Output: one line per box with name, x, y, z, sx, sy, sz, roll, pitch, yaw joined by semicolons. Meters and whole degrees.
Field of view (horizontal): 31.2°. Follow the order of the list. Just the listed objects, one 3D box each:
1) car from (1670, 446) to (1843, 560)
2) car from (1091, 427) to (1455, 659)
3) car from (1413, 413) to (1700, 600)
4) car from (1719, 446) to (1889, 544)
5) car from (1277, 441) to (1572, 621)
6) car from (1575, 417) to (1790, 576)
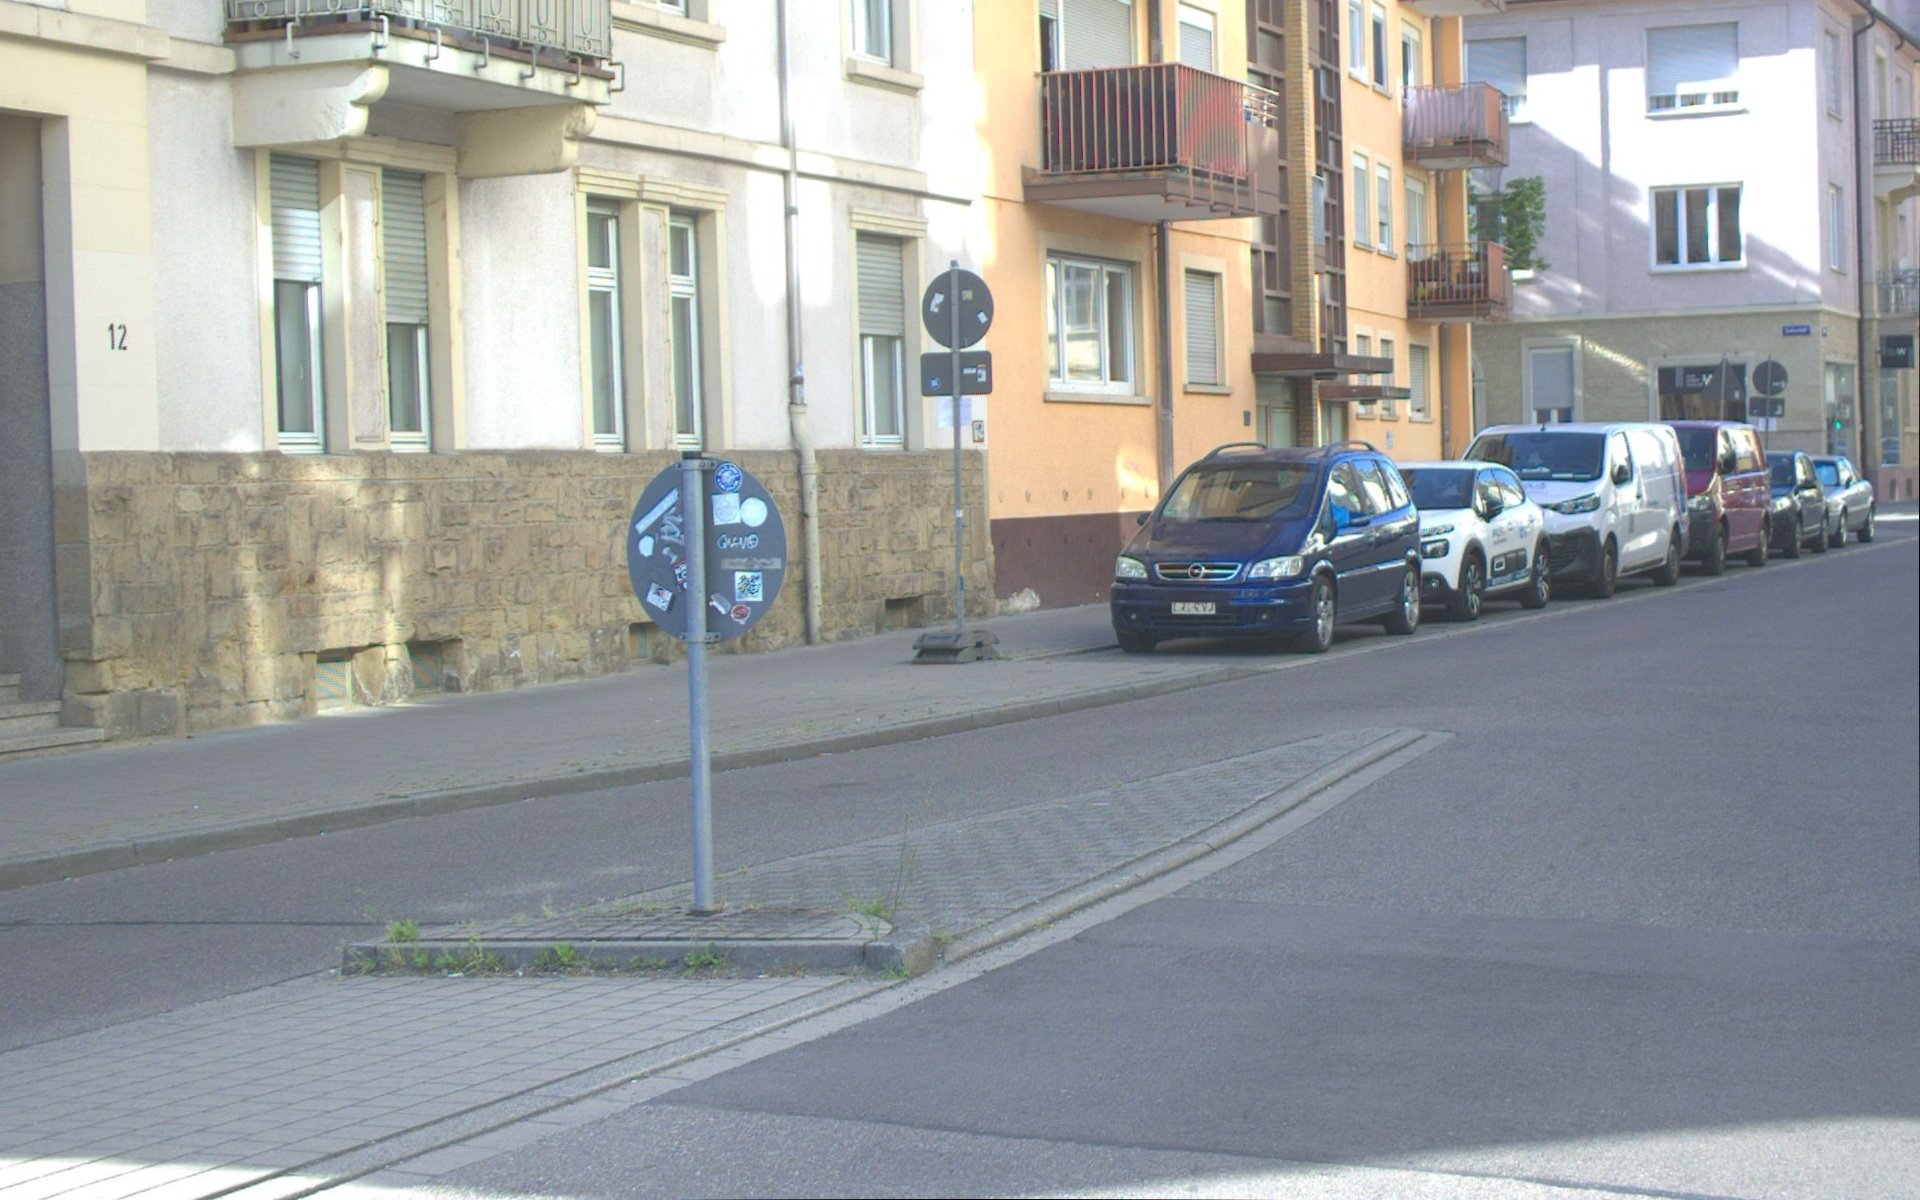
car;11.440;-1.414;49.190;1.764;1.497;3.996;-1;2;22
car;2.686;-0.533;28.552;1.765;1.765;4.289;0;3;23
car;6.714;-1.087;38.202;1.978;1.918;5.303;0;3;23
car;13.164;-1.667;53.483;1.765;1.372;4.473;3;4;24
car;4.594;-0.717;33.487;1.765;1.615;4.290;0;3;23
car;9.316;-1.367;44.035;1.765;1.918;4.929;0;3;23
